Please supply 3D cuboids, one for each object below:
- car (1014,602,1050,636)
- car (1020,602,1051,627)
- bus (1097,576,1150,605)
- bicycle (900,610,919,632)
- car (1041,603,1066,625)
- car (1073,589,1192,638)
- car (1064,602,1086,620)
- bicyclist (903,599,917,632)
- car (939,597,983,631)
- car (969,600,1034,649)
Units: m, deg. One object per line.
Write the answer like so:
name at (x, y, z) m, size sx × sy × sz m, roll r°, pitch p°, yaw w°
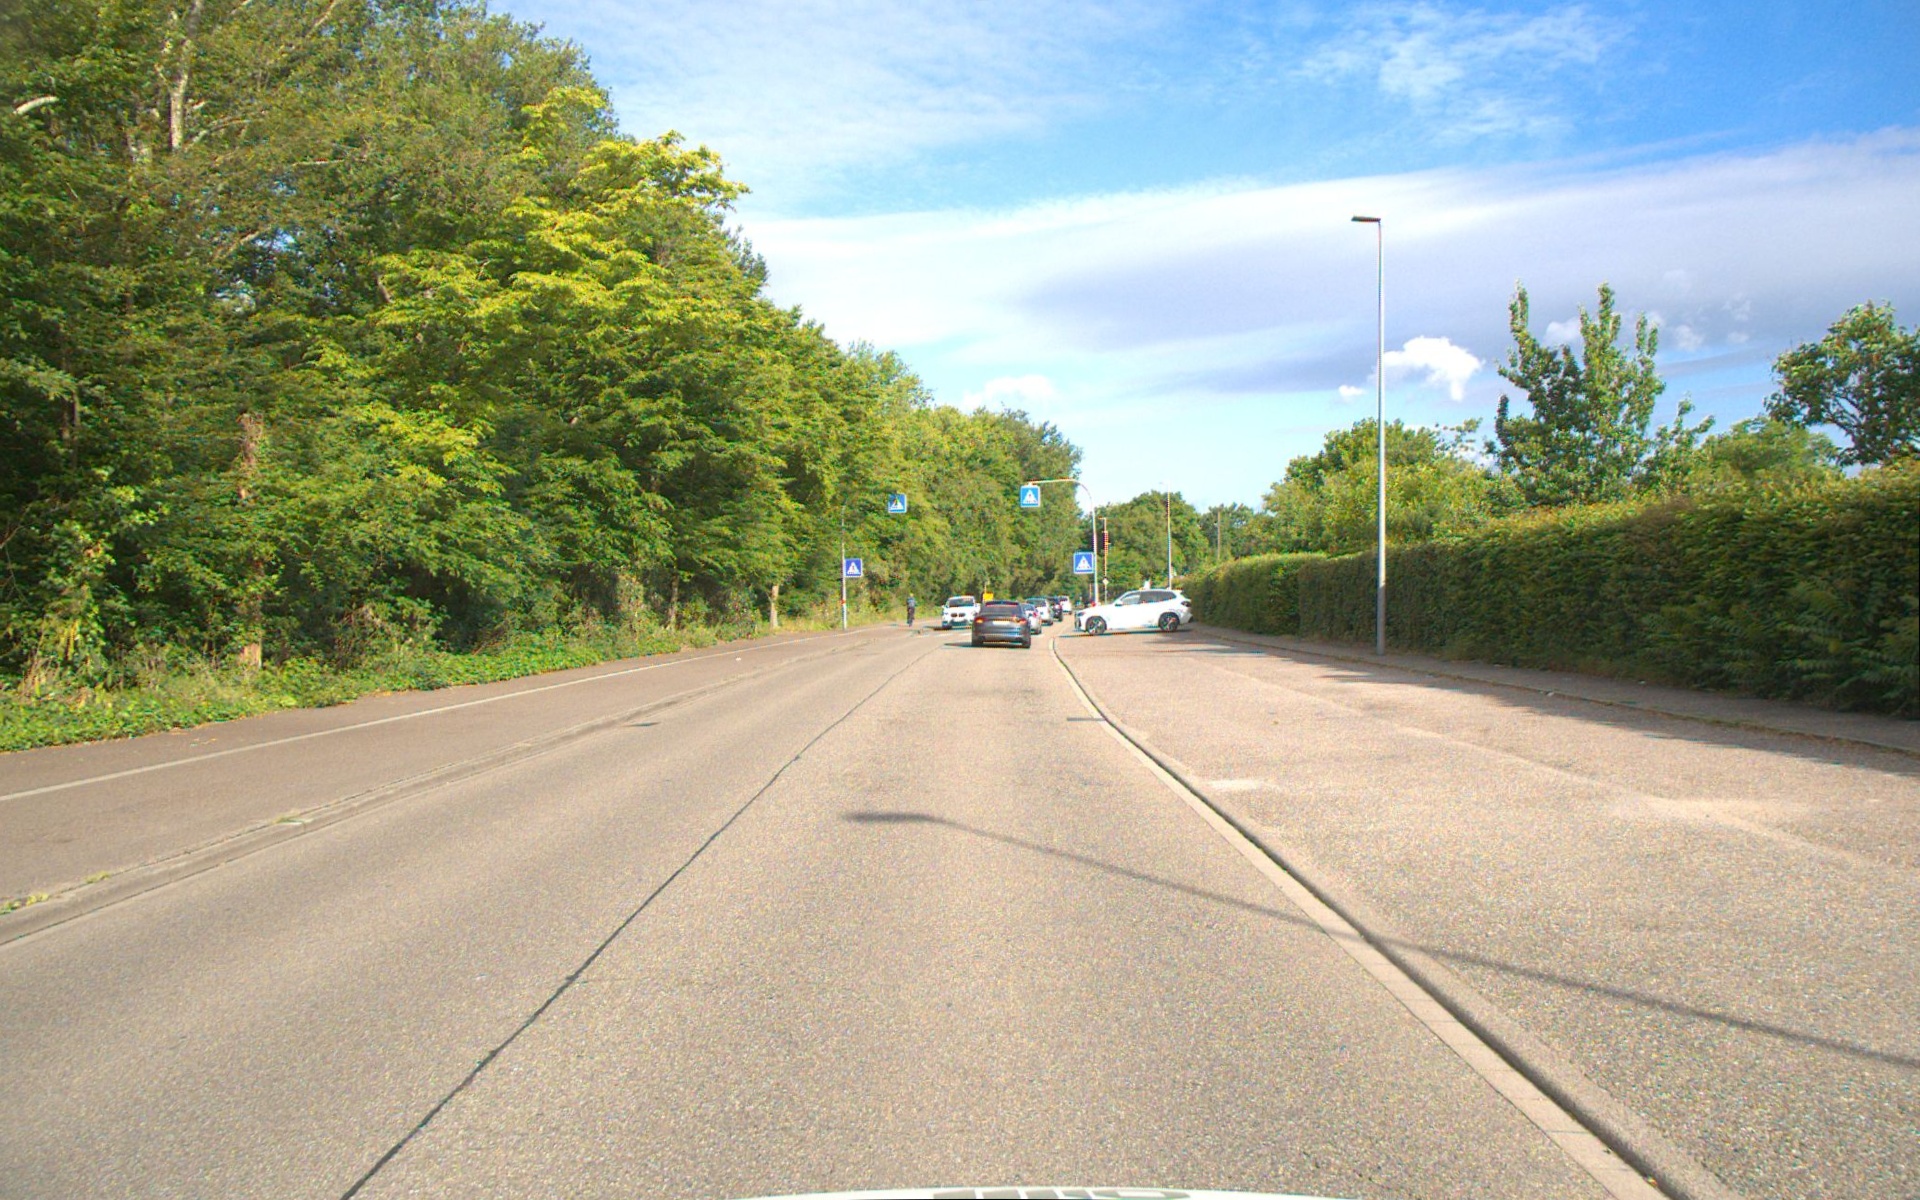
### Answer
car at (3.103, 0.796, 71.062) m, size 1.464 × 1.390 × 3.263 m, roll -1°, pitch 0°, yaw 4°
car at (4.061, 0.761, 88.688) m, size 1.463 × 1.327 × 3.264 m, roll -1°, pitch 0°, yaw 5°
bus at (16.750, -0.954, 169.861) m, size 5.253 × 2.795 × 2.069 m, roll -2°, pitch 0°, yaw 2°
bicycle at (-2.661, 1.110, 86.891) m, size 0.648 × 1.116 × 2.350 m, roll 1°, pitch 0°, yaw 6°
car at (6.111, 0.894, 107.615) m, size 1.463 × 1.390 × 3.264 m, roll -1°, pitch 0°, yaw 5°
car at (6.712, 0.518, 64.416) m, size 4.491 × 1.729 × 1.764 m, roll -2°, pitch -1°, yaw 5°
car at (9.285, 0.886, 133.101) m, size 1.463 × 1.390 × 3.265 m, roll -1°, pitch 0°, yaw 9°
bicyclist at (-2.635, 0.812, 86.856) m, size 0.596 × 1.706 × 0.884 m, roll 1°, pitch 0°, yaw 6°
car at (0.071, 0.735, 83.443) m, size 1.764 × 1.613 × 4.104 m, roll -2°, pitch -1°, yaw 5°
car at (1.253, 0.738, 51.363) m, size 1.926 × 1.459 × 4.336 m, roll 0°, pitch 0°, yaw 1°
